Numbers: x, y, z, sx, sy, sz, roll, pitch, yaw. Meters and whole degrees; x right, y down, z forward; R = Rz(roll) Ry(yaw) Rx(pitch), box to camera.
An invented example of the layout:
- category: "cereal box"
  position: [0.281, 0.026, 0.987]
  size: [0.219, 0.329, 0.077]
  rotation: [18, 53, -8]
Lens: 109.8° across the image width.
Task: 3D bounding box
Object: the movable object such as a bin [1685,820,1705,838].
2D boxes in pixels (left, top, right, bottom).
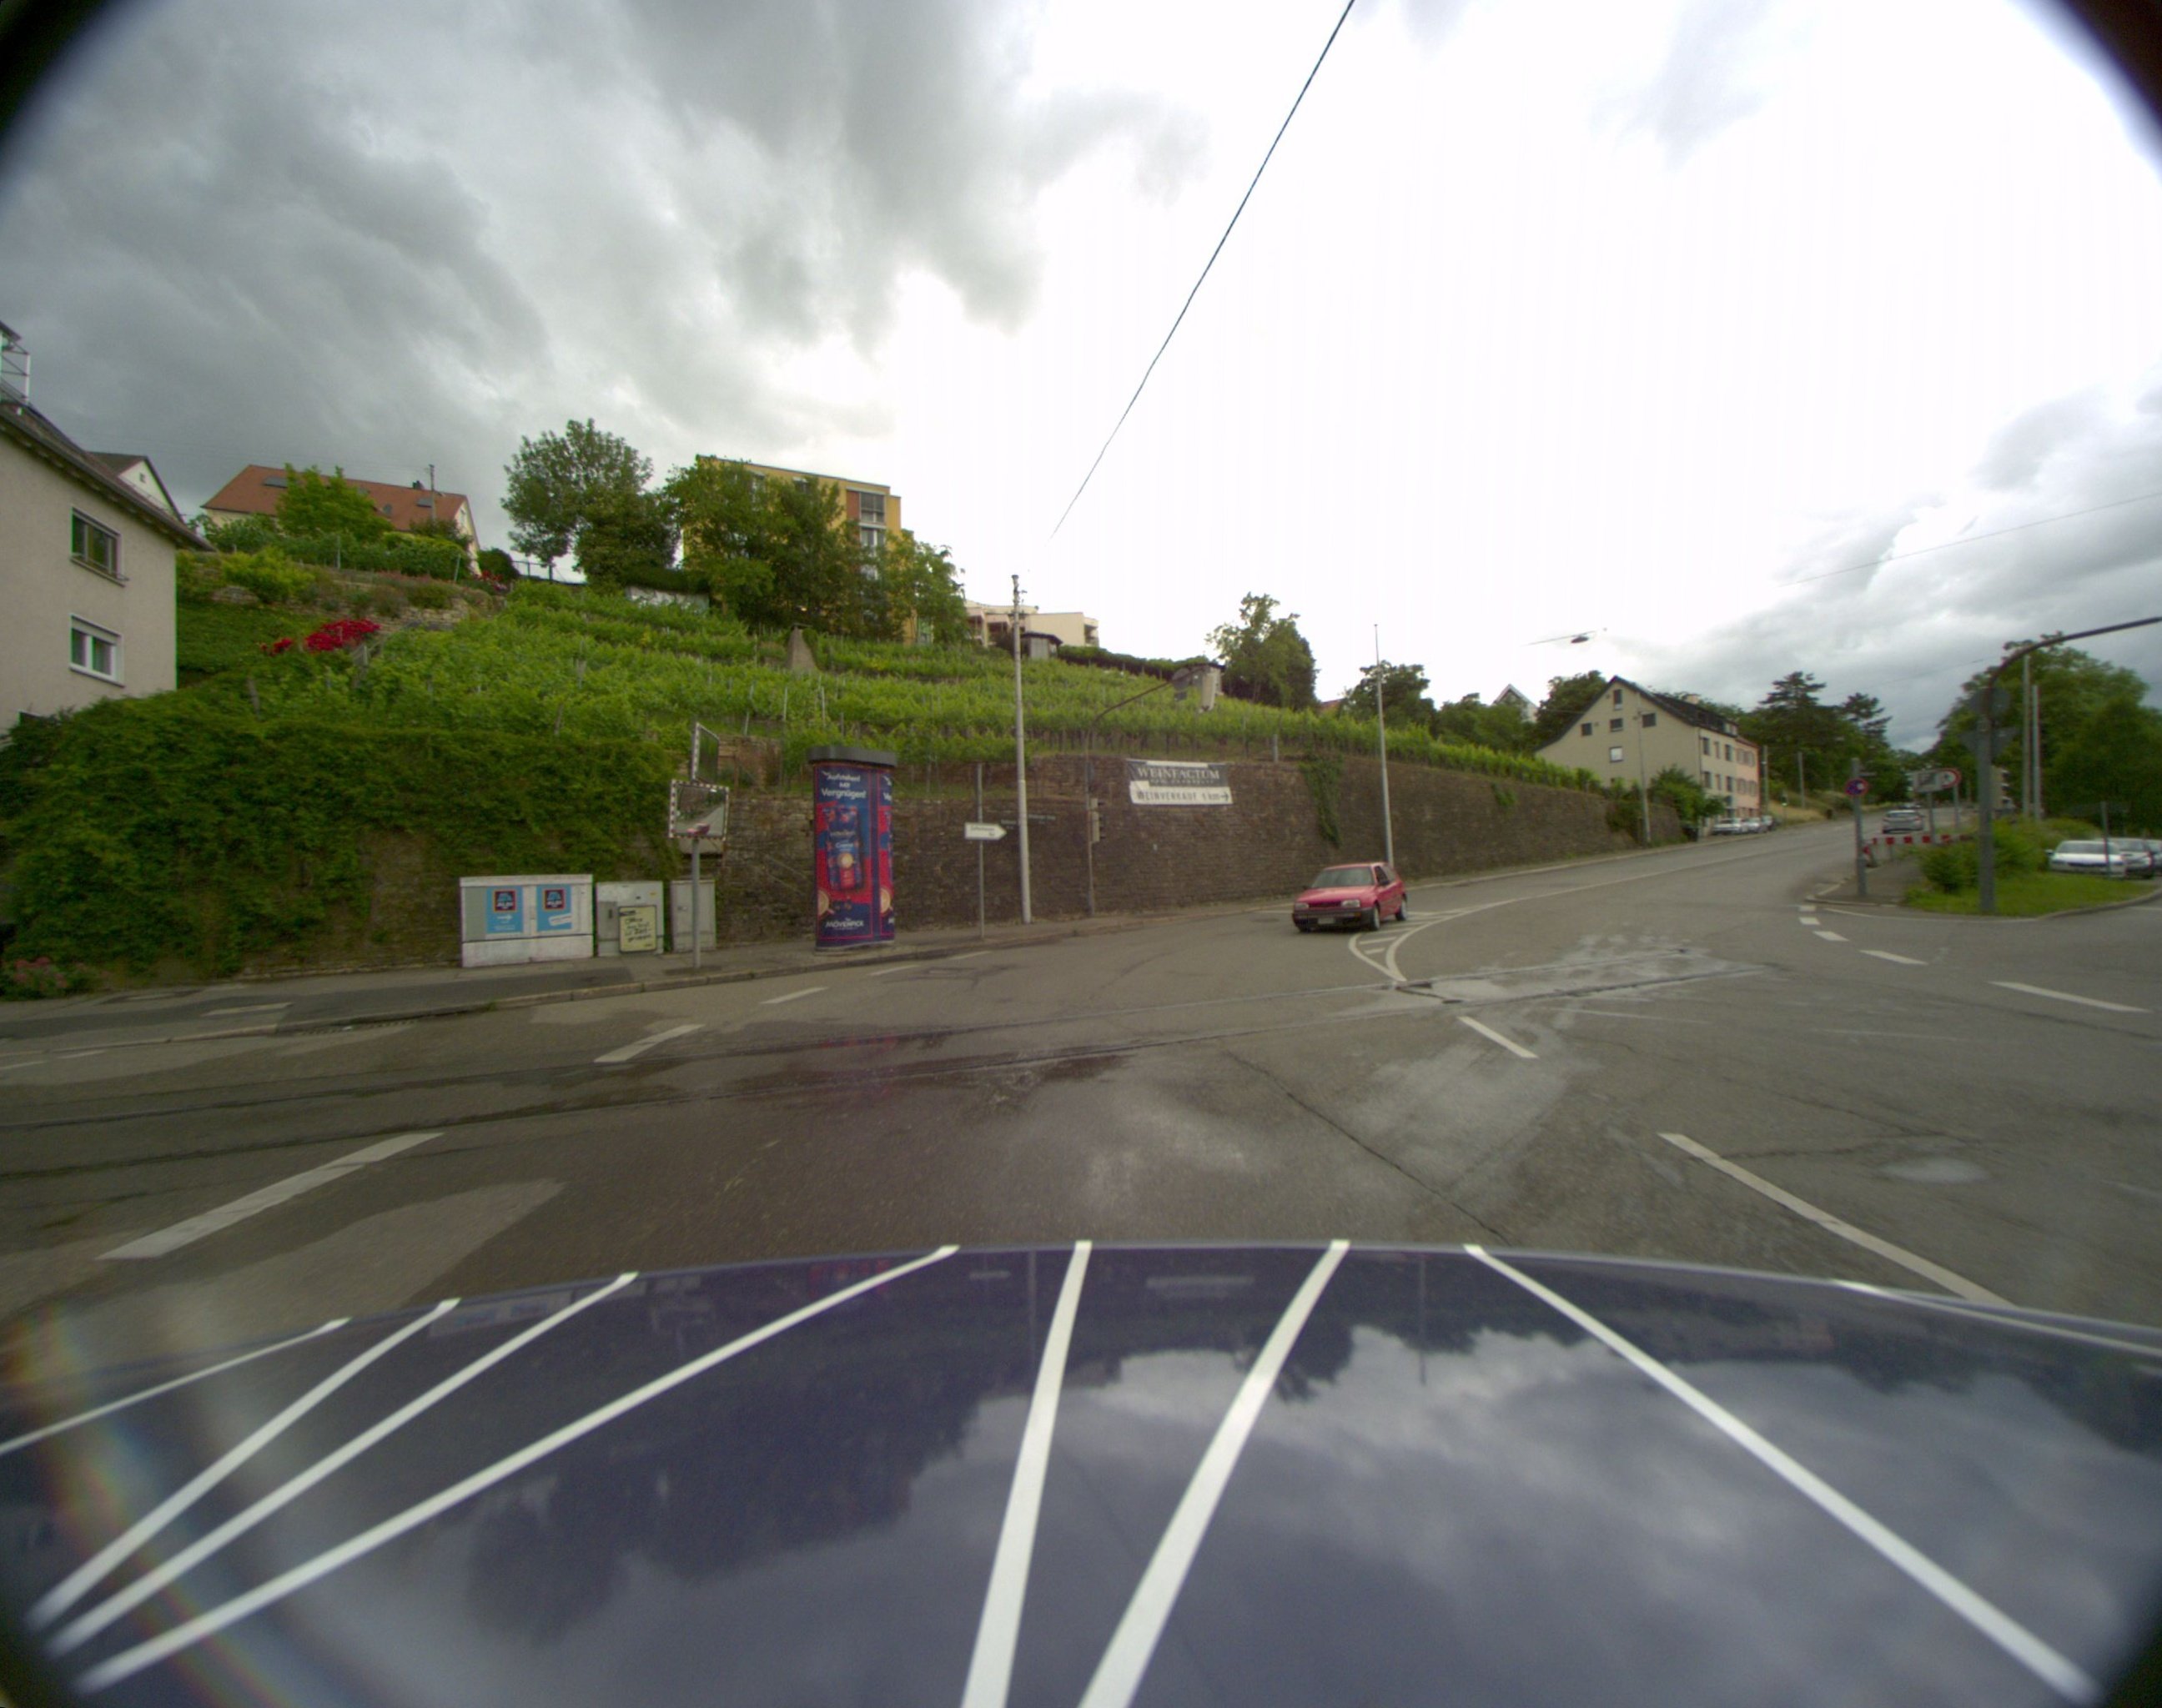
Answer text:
- category: "movable object such as a bin"
  position: [43.125, -1.753, 53.363]
  size: [0.876, 1.120, 0.809]
  rotation: [-4, 0, -37]

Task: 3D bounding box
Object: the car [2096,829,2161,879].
- category: "car"
  position: [45.849, -0.039, 32.918]
  size: [4.006, 1.827, 1.996]
  rotation: [-5, 0, -35]

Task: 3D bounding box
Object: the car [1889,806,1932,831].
- category: "car"
  position: [54.134, -2.311, 49.579]
  size: [3.650, 1.459, 1.670]
  rotation: [0, 0, -39]

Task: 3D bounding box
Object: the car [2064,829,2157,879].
- category: "car"
  position: [40.974, -0.021, 30.228]
  size: [4.007, 1.827, 1.995]
  rotation: [-1, 1, -33]

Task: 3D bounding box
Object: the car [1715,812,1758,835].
- category: "car"
  position: [55.491, -2.595, 64.328]
  size: [4.062, 1.565, 1.796]
  rotation: [-5, 0, -36]

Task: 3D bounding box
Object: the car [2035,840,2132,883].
- category: "car"
  position: [36.807, 0.245, 27.880]
  size: [4.007, 1.433, 1.872]
  rotation: [-1, 0, -33]

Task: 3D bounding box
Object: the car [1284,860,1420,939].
- category: "car"
  position: [6.169, 0.945, 17.020]
  size: [1.643, 1.429, 4.008]
  rotation: [-3, 0, 37]

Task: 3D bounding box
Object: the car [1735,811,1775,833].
- category: "car"
  position: [59.733, -2.842, 67.308]
  size: [4.255, 1.565, 1.729]
  rotation: [-5, 0, -36]

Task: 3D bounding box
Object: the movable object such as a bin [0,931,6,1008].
- category: "movable object such as a bin"
  position: [-15.429, 1.640, 10.537]
  size: [0.473, 1.076, 0.407]
  rotation: [-3, 1, -40]
